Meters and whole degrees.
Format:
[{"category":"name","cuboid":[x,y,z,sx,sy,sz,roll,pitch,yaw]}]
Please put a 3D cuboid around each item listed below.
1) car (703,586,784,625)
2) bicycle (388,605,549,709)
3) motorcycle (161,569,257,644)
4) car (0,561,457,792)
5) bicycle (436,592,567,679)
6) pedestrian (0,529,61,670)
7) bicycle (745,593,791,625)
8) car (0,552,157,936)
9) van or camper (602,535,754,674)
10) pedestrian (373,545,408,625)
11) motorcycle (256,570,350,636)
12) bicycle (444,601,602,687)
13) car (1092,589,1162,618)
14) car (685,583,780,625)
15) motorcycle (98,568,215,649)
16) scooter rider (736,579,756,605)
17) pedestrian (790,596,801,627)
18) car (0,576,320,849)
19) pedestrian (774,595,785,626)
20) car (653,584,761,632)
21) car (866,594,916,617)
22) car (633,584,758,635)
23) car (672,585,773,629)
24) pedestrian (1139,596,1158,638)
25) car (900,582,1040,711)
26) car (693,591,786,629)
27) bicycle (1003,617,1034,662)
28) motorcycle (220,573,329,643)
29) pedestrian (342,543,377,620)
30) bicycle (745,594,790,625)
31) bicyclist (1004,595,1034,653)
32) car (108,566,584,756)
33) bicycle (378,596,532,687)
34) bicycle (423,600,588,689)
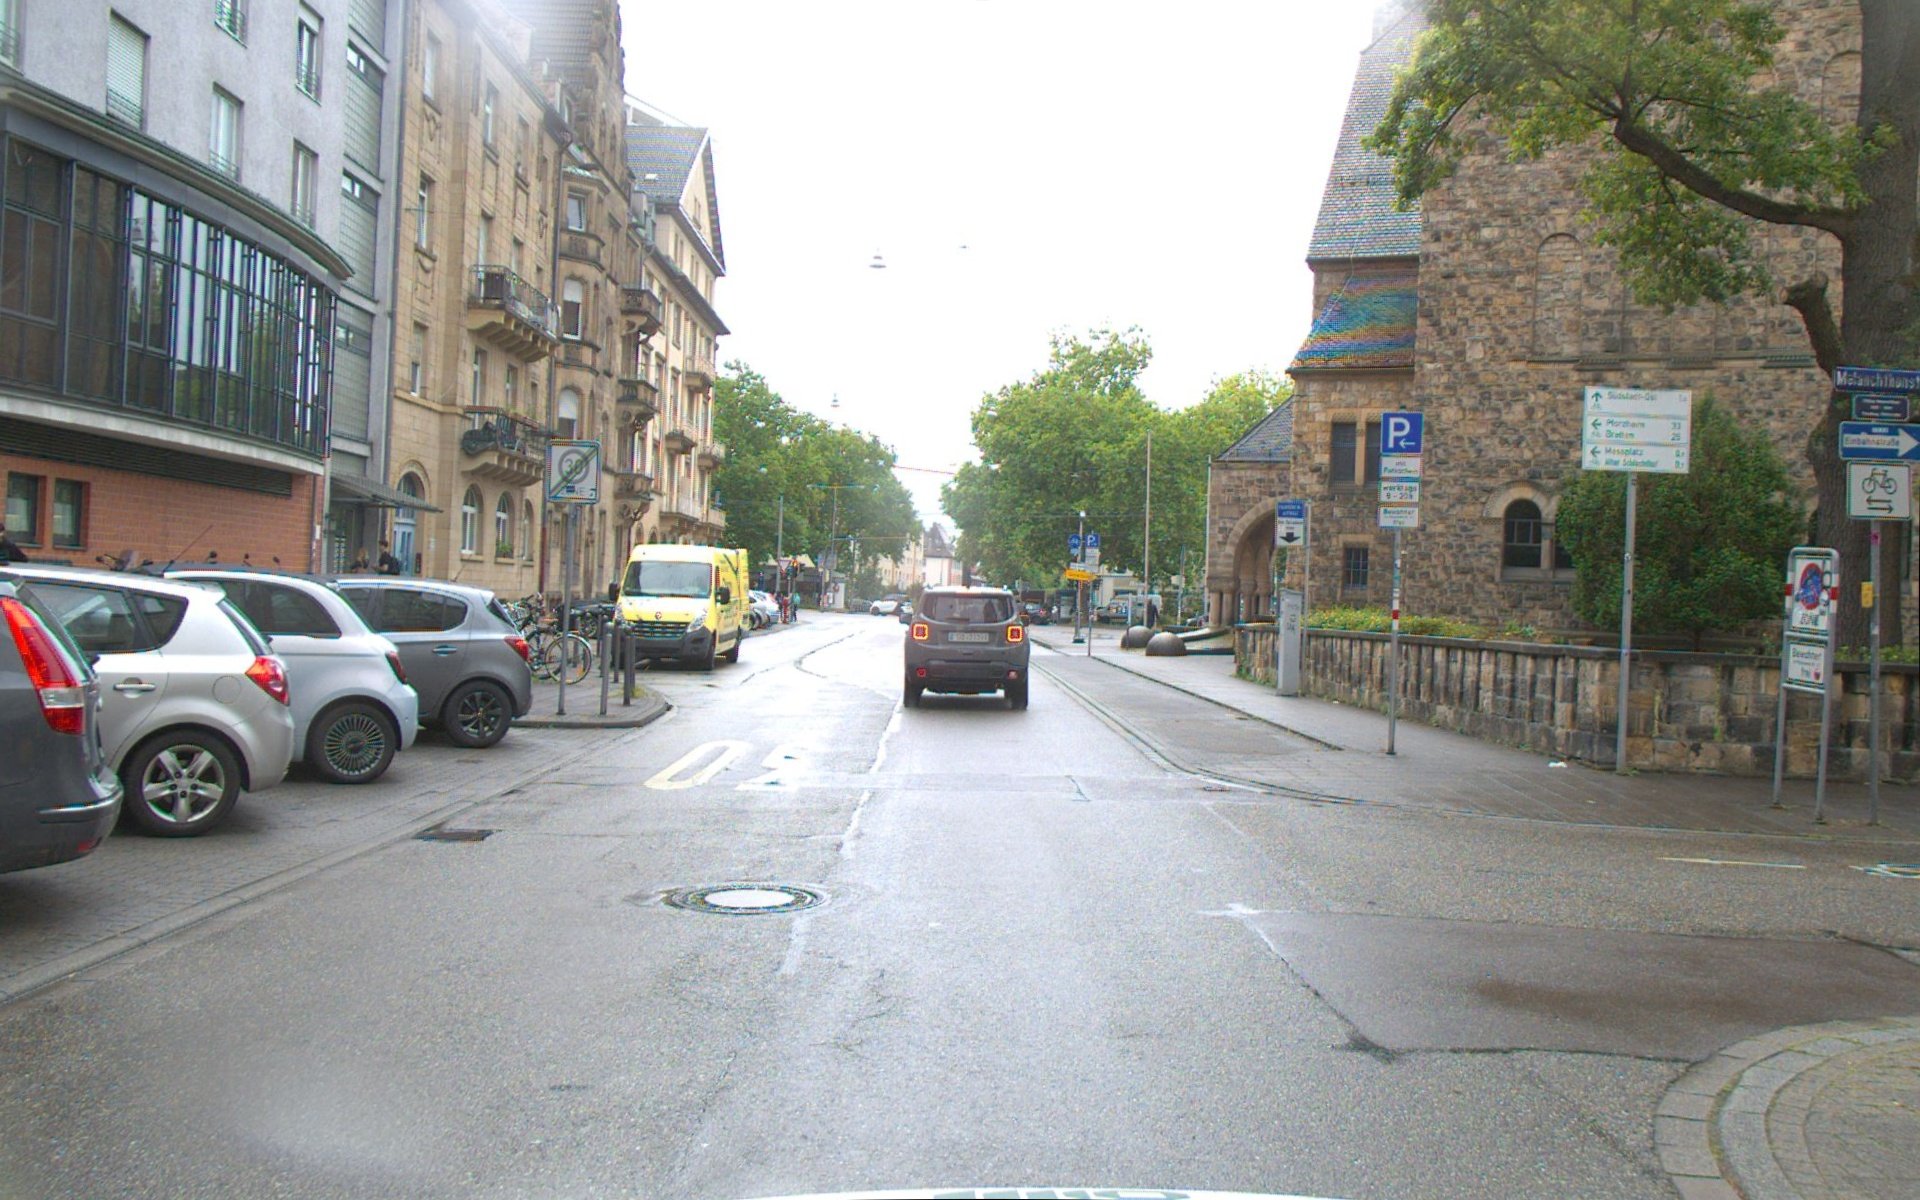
[{"category":"car","cuboid":[-9.801,0.247,74.937,3.217,1.586,1.517,4,-1,-34]},{"category":"bicycle","cuboid":[-5.780,0.663,19.494,1.689,1.116,0.506,3,0,-6]},{"category":"motorcycle","cuboid":[-12.925,0.103,28.552,0.738,1.194,2.114,4,0,-4]},{"category":"car","cuboid":[-5.693,0.551,12.414,3.341,1.533,1.663,3,-1,-31]},{"category":"bicycle","cuboid":[-7.074,0.551,25.552,1.793,1.234,0.623,5,-2,-37]},{"category":"pedestrian","cuboid":[-11.023,-0.018,19.222,0.694,1.578,0.608,4,0,6]},{"category":"bicycle","cuboid":[-9.089,0.438,78.441,2.079,1.469,0.536,1,0,-21]},{"category":"car","cuboid":[-5.298,0.528,6.872,3.342,1.569,1.663,3,-1,-32]},{"category":"van or camper","cuboid":[-5.780,0.192,34.859,2.078,2.575,6.872,-2,-2,-1]},{"category":"pedestrian","cuboid":[-12.952,-0.337,37.629,0.652,1.788,0.790,1,0,-24]},{"category":"motorcycle","cuboid":[-12.872,0.075,32.471,0.560,1.194,1.780,4,0,22]},{"category":"bicycle","cuboid":[-6.339,0.635,24.038,2.073,1.116,0.594,3,0,0]},{"category":"car","cuboid":[14.205,0.274,140.989,5.781,2.375,2.060,1,0,3]},{"category":"car","cuboid":[-9.839,0.180,71.633,3.697,1.586,1.652,4,-1,-34]},{"category":"motorcycle","cuboid":[-12.786,0.132,26.402,0.738,1.194,2.115,4,0,0]},{"category":"scooter rider","cuboid":[-10.875,-0.407,84.047,0.862,1.241,0.983,2,-2,-1]},{"category":"pedestrian","cuboid":[-8.668,0.601,87.019,0.458,1.613,0.752,2,0,-2]},{"category":"car","cuboid":[-5.727,0.604,9.725,3.346,1.483,1.661,3,-1,-35]},{"category":"pedestrian","cuboid":[-9.434,0.545,86.342,0.458,1.613,0.659,2,0,-2]},{"category":"car","cuboid":[-9.580,0.311,62.703,3.626,1.586,1.785,4,-1,-38]},{"category":"car","cuboid":[-4.801,0.372,115.555,3.120,1.527,1.543,1,0,17]},{"category":"car","cuboid":[-9.097,0.341,57.039,3.820,1.505,1.857,4,-1,-42]},{"category":"car","cuboid":[-9.464,0.271,65.904,3.465,1.544,1.863,4,-1,-34]},{"category":"pedestrian","cuboid":[7.935,0.705,69.662,0.676,1.741,0.684,1,0,-1]},{"category":"car","cuboid":[0.070,0.630,24.604,1.860,1.700,4.504,1,0,-2]},{"category":"car","cuboid":[-9.191,0.417,69.020,3.383,1.339,1.758,4,-1,-34]},{"category":"bicycle","cuboid":[1.475,0.990,41.905,0.690,1.072,1.812,1,0,0]},{"category":"motorcycle","cuboid":[-12.680,0.155,30.678,0.737,1.194,2.117,4,0,11]},{"category":"pedestrian","cuboid":[-13.557,-0.409,37.351,0.652,1.704,0.790,1,0,-24]},{"category":"bicycle","cuboid":[-9.238,0.467,79.431,2.062,1.469,0.487,1,0,-21]},{"category":"bicyclist","cuboid":[1.486,0.596,41.907,0.690,1.428,1.171,1,0,0]},{"category":"car","cuboid":[-5.620,0.551,15.199,3.780,1.533,1.968,3,-1,-31]},{"category":"bicycle","cuboid":[-6.890,0.564,22.608,1.875,1.116,0.506,3,0,0]},{"category":"bicycle","cuboid":[-6.367,0.615,23.212,2.089,1.116,0.594,3,0,0]}]
